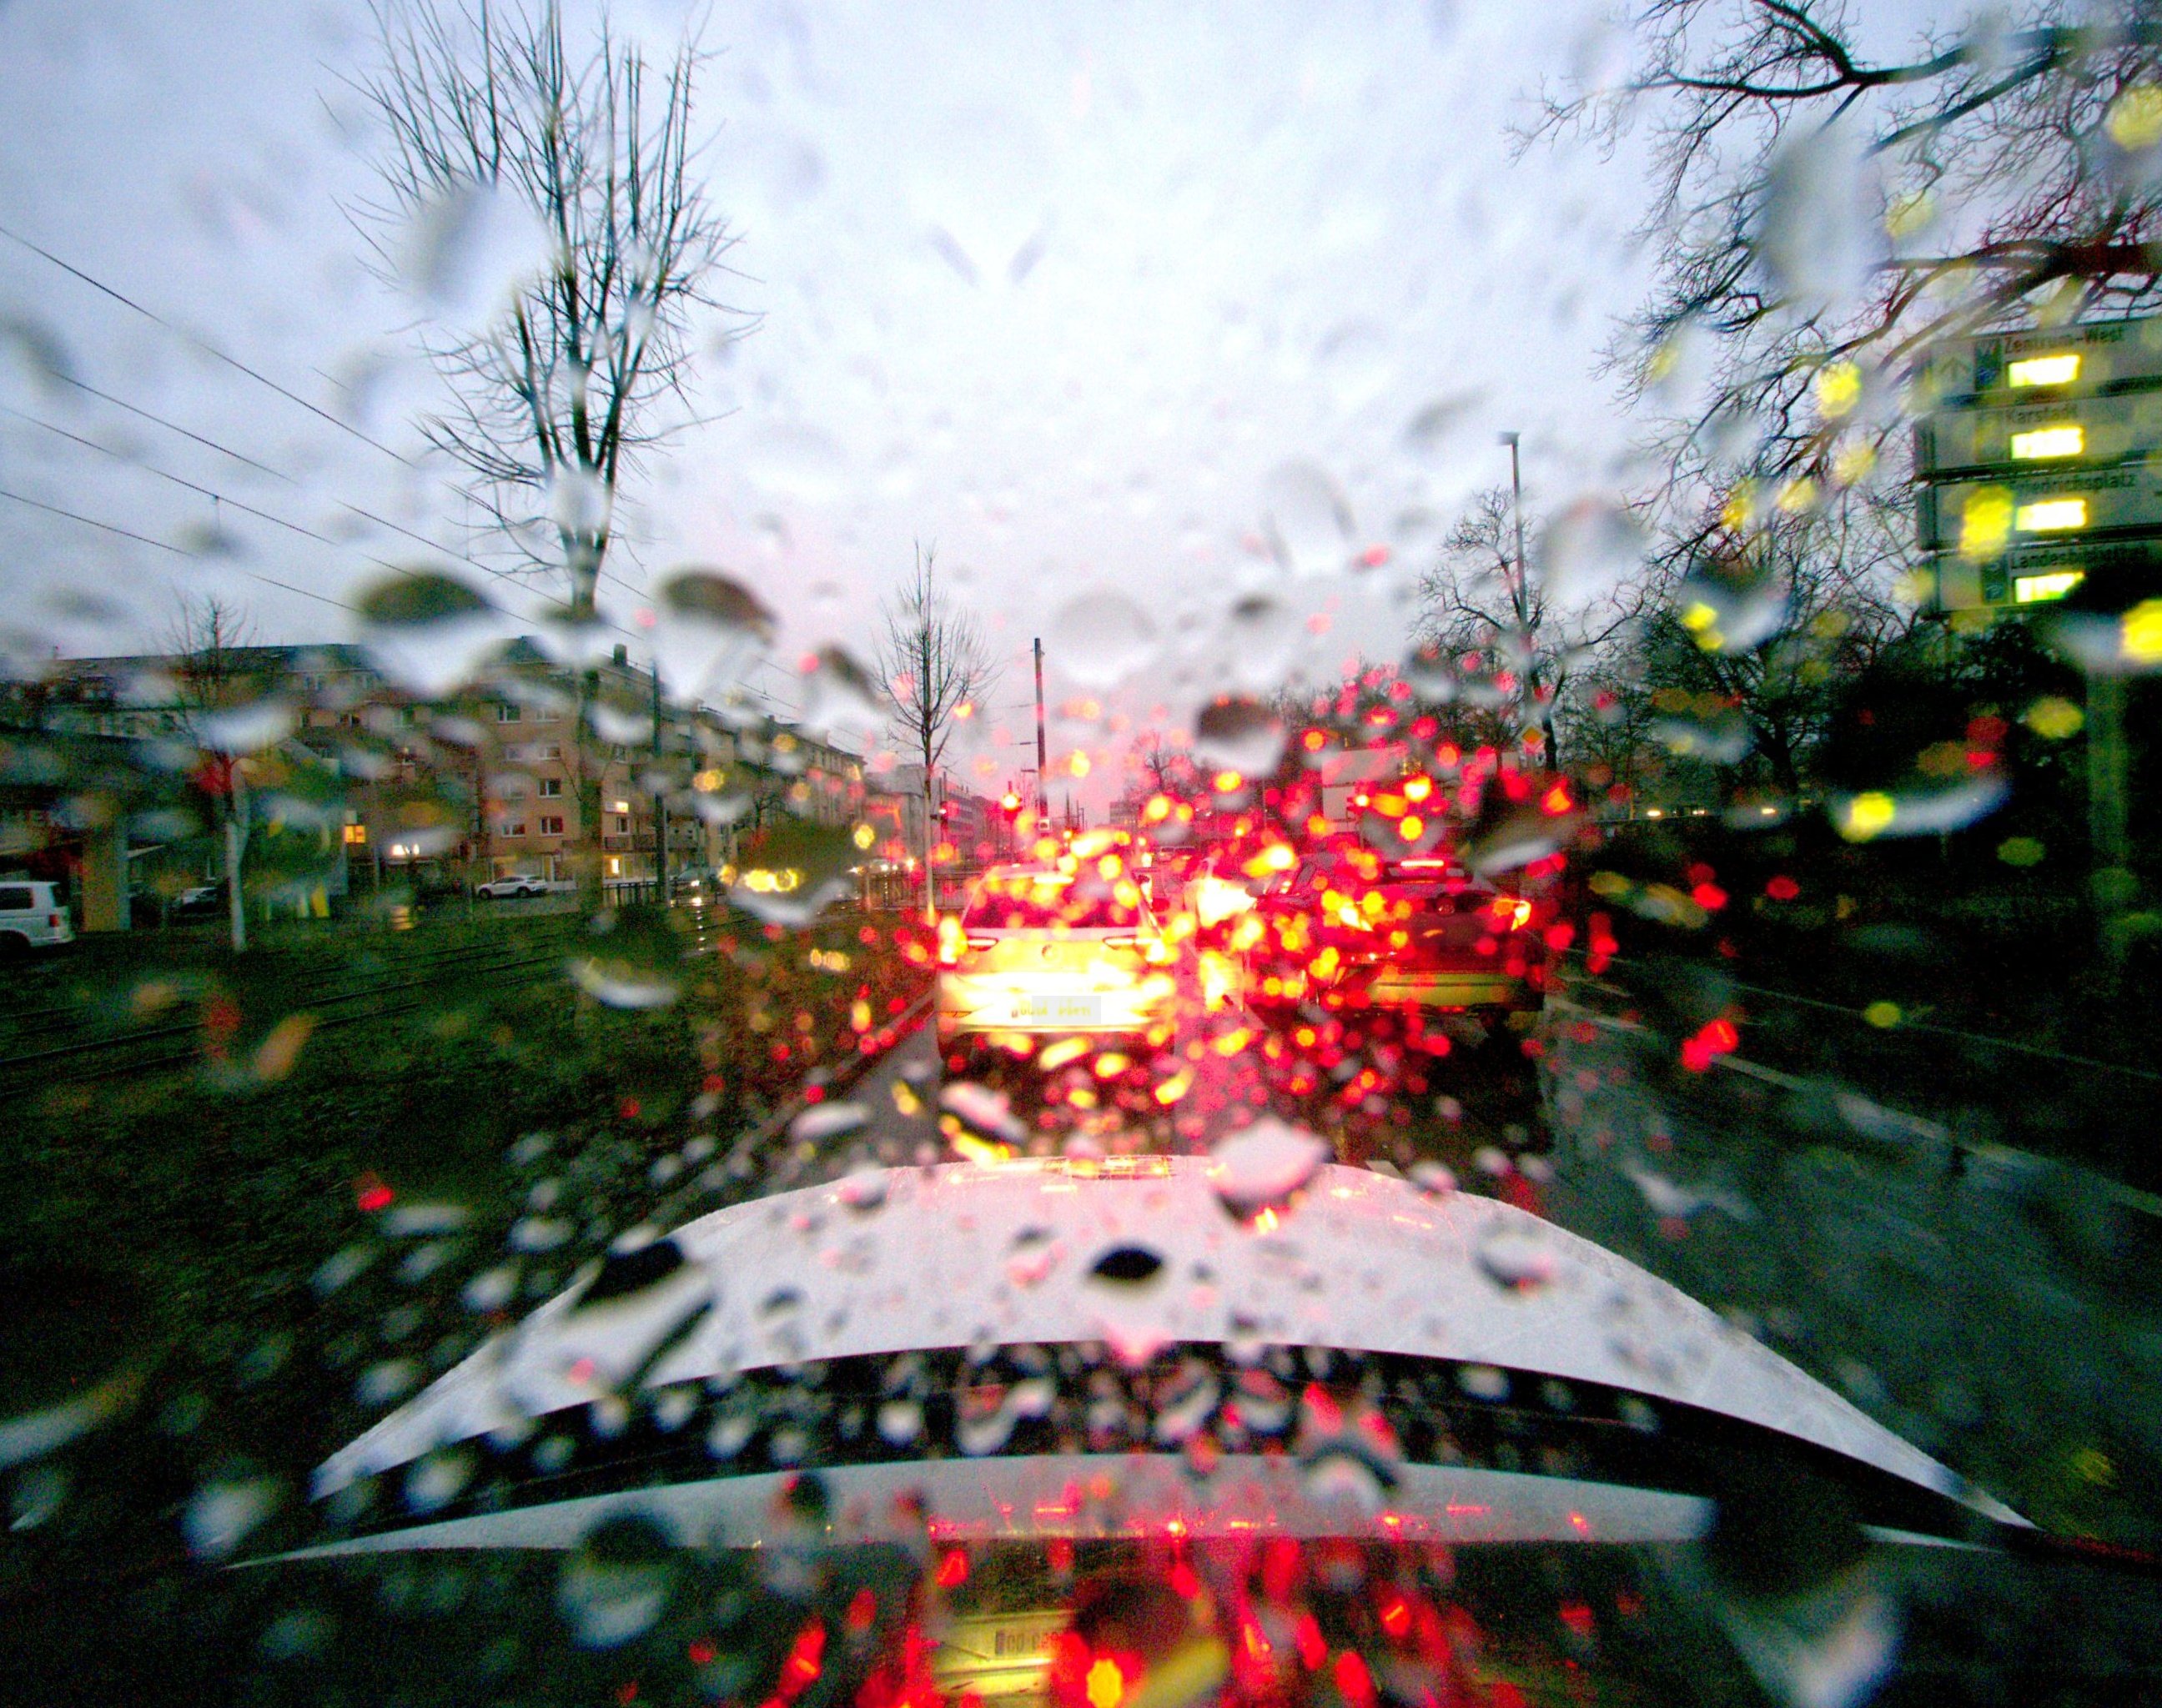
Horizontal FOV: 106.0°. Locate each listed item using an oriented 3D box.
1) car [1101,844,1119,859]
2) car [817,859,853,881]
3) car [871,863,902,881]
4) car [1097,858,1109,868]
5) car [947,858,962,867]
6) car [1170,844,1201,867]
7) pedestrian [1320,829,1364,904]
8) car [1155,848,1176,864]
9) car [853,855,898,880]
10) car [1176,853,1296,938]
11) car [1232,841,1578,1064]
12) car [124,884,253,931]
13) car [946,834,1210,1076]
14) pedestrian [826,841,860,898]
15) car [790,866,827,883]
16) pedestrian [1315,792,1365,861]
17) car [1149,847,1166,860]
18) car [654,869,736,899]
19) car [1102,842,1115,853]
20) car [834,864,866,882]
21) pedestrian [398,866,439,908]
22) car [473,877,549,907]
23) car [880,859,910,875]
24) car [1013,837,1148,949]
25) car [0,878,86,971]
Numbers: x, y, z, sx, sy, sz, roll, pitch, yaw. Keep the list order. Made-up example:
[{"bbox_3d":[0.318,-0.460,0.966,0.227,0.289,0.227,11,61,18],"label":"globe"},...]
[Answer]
[{"bbox_3d":[3.040,-0.289,85.106,1.731,1.419,4.396,-2,0,2],"label":"car"},{"bbox_3d":[-22.502,1.434,74.610,1.986,2.013,4.001,0,0,2],"label":"car"},{"bbox_3d":[-18.537,1.681,77.671,1.860,1.577,4.002,-2,0,2],"label":"car"},{"bbox_3d":[3.473,1.395,127.205,1.731,1.419,3.805,-2,0,2],"label":"car"},{"bbox_3d":[-22.840,1.545,147.679,1.942,1.602,4.002,0,0,2],"label":"car"},{"bbox_3d":[7.182,0.078,56.172,1.731,1.419,3.705,-2,0,2],"label":"car"},{"bbox_3d":[7.256,0.334,22.684,0.953,2.013,1.010,-2,0,8],"label":"pedestrian"},{"bbox_3d":[7.789,0.185,75.313,1.731,1.419,3.705,-2,0,2],"label":"car"},{"bbox_3d":[-14.041,0.891,55.875,1.986,1.602,4.001,0,0,1],"label":"car"},{"bbox_3d":[2.836,0.698,15.637,1.738,1.433,3.733,0,0,2],"label":"car"},{"bbox_3d":[2.628,0.690,7.662,1.793,1.511,3.897,-2,0,2],"label":"car"},{"bbox_3d":[-43.055,2.546,39.417,1.886,2.013,3.876,0,0,2],"label":"car"},{"bbox_3d":[-0.037,0.636,7.262,1.688,1.533,3.999,-1,0,-1],"label":"car"},{"bbox_3d":[-8.765,0.554,29.987,1.009,2.013,0.954,-2,0,-23],"label":"pedestrian"},{"bbox_3d":[-22.006,1.631,65.874,1.684,1.277,3.539,-2,0,3],"label":"car"},{"bbox_3d":[7.850,-0.818,24.736,0.962,2.013,1.001,-2,0,-21],"label":"pedestrian"},{"bbox_3d":[8.966,-0.071,95.700,1.731,1.419,4.148,-2,0,2],"label":"car"},{"bbox_3d":[-18.764,1.418,39.796,1.852,1.332,4.317,0,0,2],"label":"car"},{"bbox_3d":[3.780,-0.926,111.568,1.731,1.419,3.805,-2,0,2],"label":"car"},{"bbox_3d":[-19.061,1.558,67.475,1.688,1.277,4.142,-2,0,-4],"label":"car"},{"bbox_3d":[-32.710,1.604,40.234,1.274,2.013,1.000,-2,0,-22],"label":"pedestrian"},{"bbox_3d":[-38.562,2.571,55.199,3.743,1.942,1.838,0,0,-6],"label":"car"},{"bbox_3d":[-18.799,1.275,82.503,1.942,1.602,4.002,0,0,2],"label":"car"},{"bbox_3d":[0.080,0.516,13.463,1.792,1.466,4.588,-2,0,2],"label":"car"},{"bbox_3d":[-28.657,1.799,20.165,4.859,2.244,1.975,0,0,-44],"label":"car"}]
